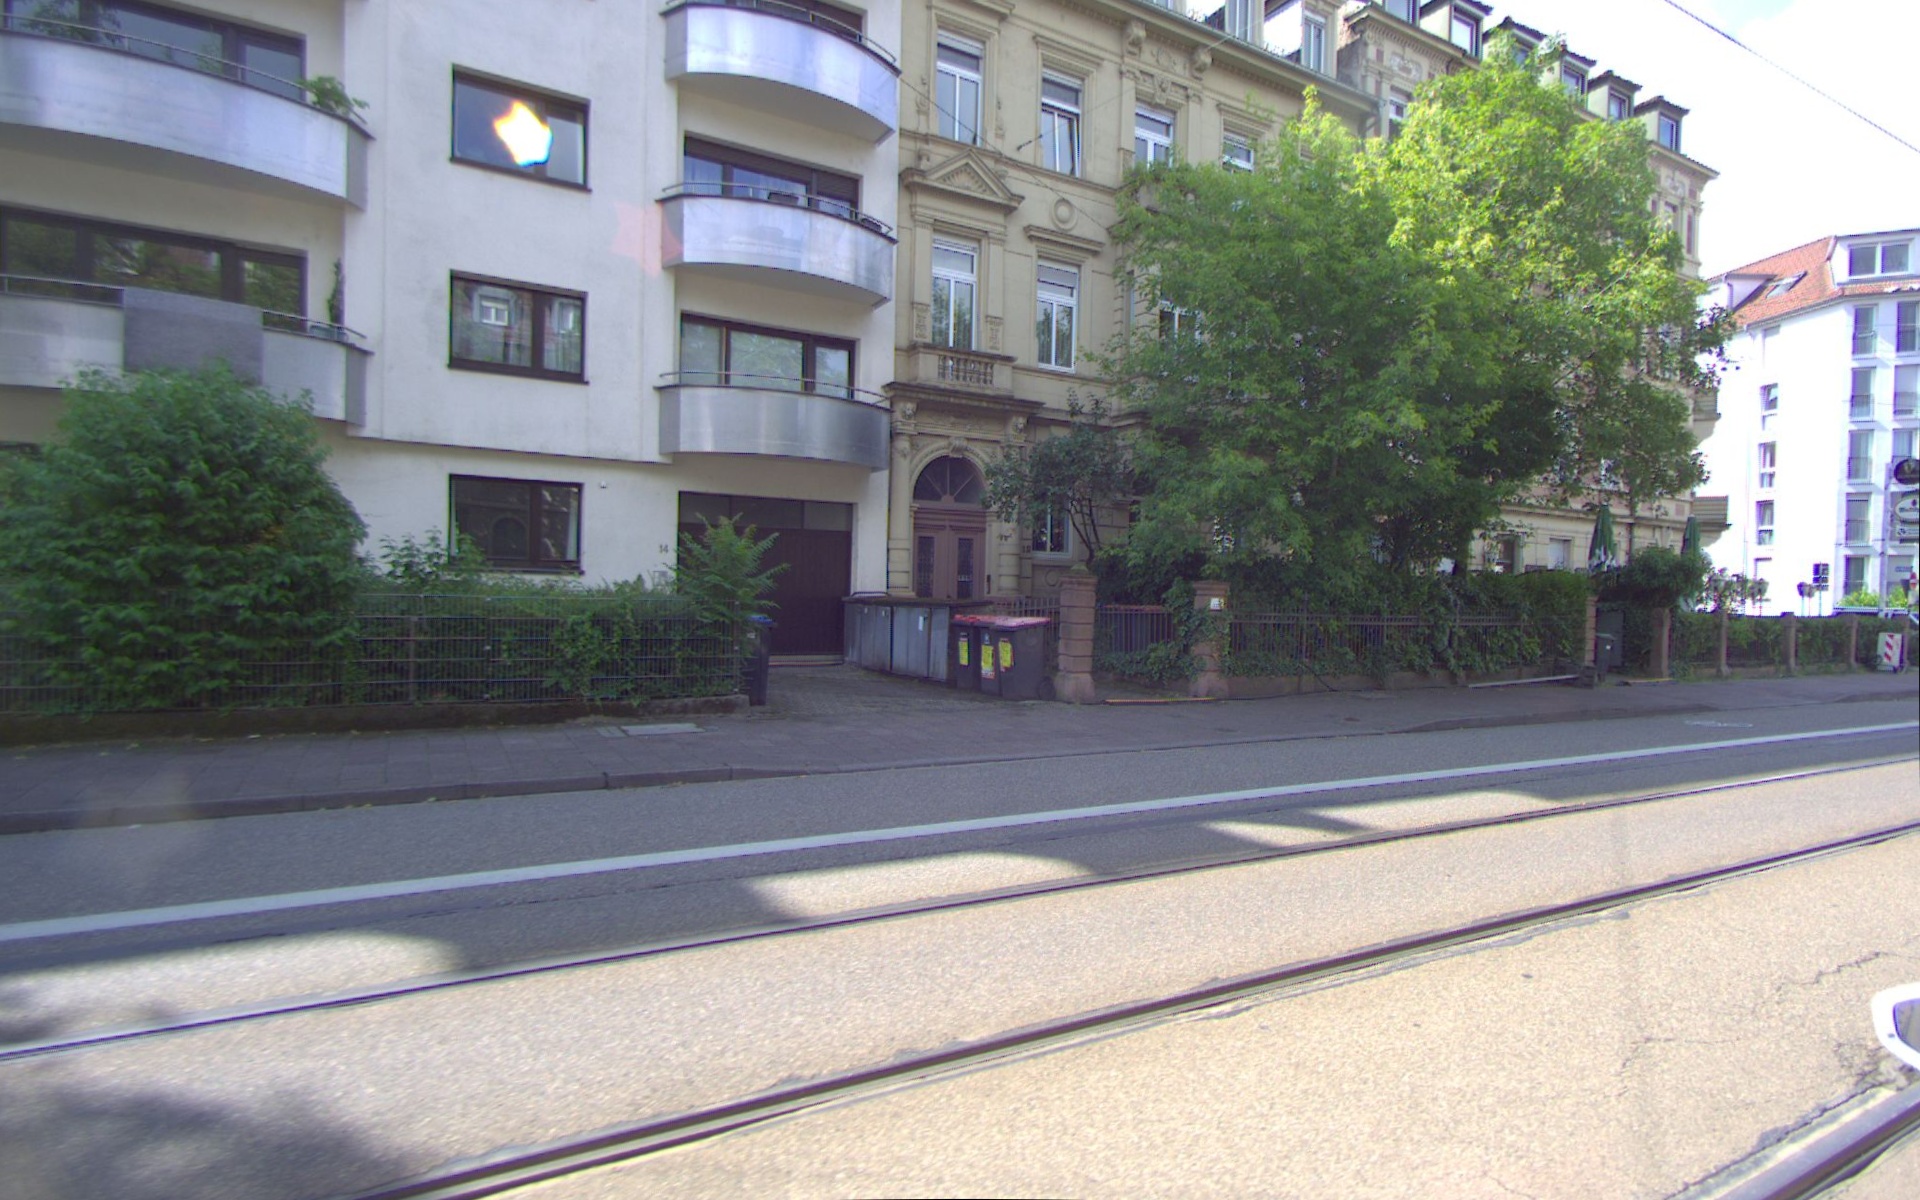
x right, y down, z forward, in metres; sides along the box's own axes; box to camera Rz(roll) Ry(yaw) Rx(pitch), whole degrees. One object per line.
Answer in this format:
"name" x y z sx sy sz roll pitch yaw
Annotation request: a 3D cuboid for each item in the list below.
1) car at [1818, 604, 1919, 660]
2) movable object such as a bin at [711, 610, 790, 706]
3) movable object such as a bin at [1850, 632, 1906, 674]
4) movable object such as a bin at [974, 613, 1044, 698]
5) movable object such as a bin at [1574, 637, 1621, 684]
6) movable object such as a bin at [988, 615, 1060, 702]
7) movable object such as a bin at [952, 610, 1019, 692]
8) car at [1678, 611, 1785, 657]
"car" 36.524 1.218 39.007 2.009 2.040 4.671 1 0 -8
"movable object such as a bin" -2.553 0.700 12.244 0.780 1.109 0.535 2 0 -30
"movable object such as a bin" 23.765 1.366 26.001 1.101 1.001 0.741 1 3 -30
"movable object such as a bin" 0.679 0.756 13.933 0.779 1.123 0.547 1 1 -25
"movable object such as a bin" 12.709 1.195 20.015 0.609 0.888 0.559 1 1 -30
"movable object such as a bin" 0.847 0.772 13.387 0.779 1.109 0.536 1 1 -25
"movable object such as a bin" 0.368 0.724 14.413 0.779 1.123 0.547 1 1 -25
"car" 28.522 1.250 37.166 3.128 1.588 1.391 1 0 -11
